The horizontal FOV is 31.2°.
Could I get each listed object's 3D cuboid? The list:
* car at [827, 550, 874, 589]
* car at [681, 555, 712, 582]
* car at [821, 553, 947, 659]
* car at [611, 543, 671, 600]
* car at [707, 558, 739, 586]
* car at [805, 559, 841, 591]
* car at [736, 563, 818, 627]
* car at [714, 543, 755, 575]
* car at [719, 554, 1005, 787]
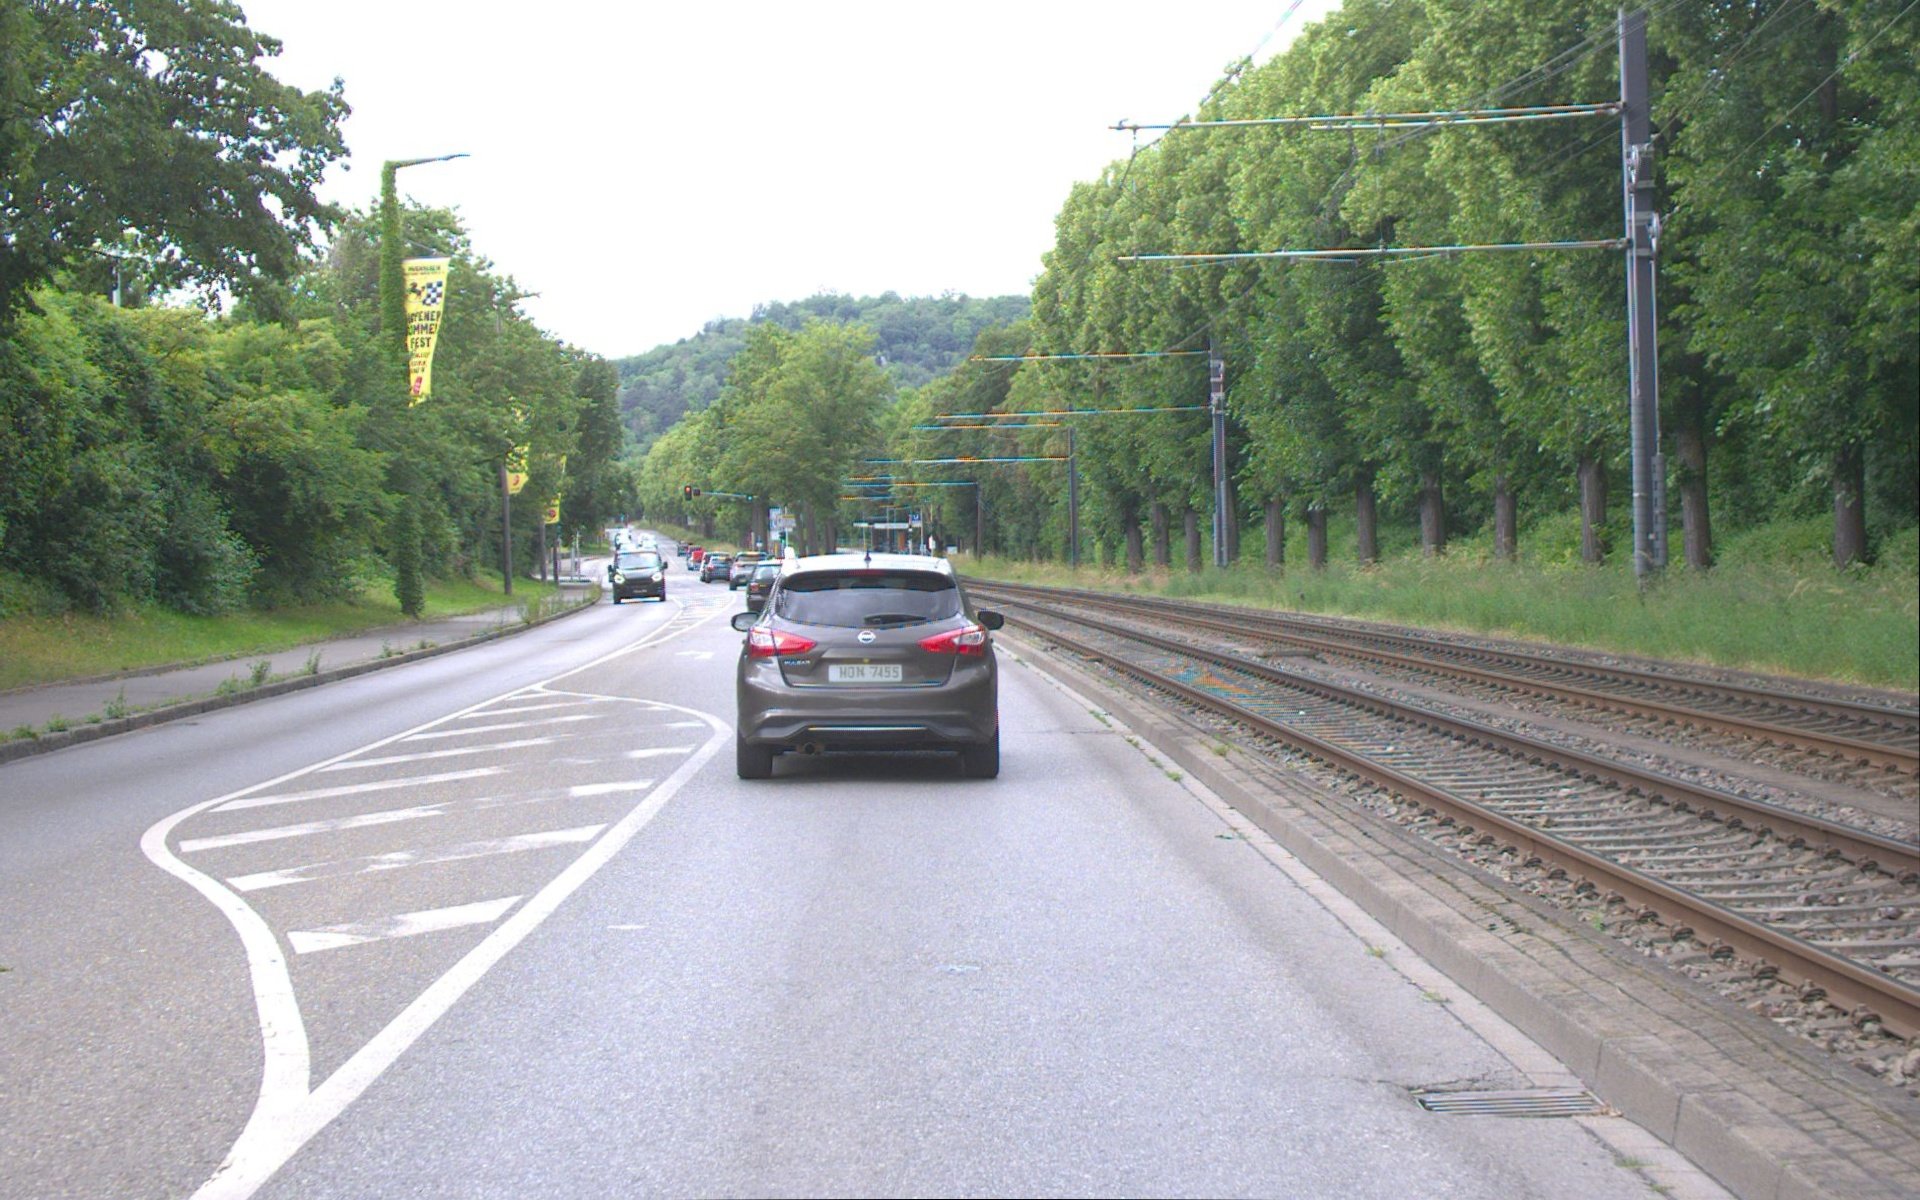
[{"bbox_3d":[-4.130,-1.153,129.807,1.699,1.438,4.000,0,1,-1],"label":"car"},{"bbox_3d":[-16.761,-1.984,218.620,1.699,1.708,4.000,0,1,-1],"label":"car"},{"bbox_3d":[-1.104,0.057,48.772,1.699,1.438,4.000,0,1,-2],"label":"car"},{"bbox_3d":[-12.185,-1.088,131.579,1.993,2.029,5.116,-3,1,-3],"label":"car"},{"bbox_3d":[-14.371,-1.720,208.821,1.699,1.708,4.000,0,1,-1],"label":"car"},{"bbox_3d":[-6.838,-1.241,171.382,1.715,1.545,4.000,0,0,-3],"label":"car"},{"bbox_3d":[-4.229,-0.144,79.794,1.700,1.438,4.000,0,1,0],"label":"car"},{"bbox_3d":[-10.873,-1.968,165.850,1.794,1.505,4.000,0,1,-1],"label":"car"},{"bbox_3d":[-0.653,0.431,24.341,1.850,1.488,4.000,0,1,0],"label":"car"}]
